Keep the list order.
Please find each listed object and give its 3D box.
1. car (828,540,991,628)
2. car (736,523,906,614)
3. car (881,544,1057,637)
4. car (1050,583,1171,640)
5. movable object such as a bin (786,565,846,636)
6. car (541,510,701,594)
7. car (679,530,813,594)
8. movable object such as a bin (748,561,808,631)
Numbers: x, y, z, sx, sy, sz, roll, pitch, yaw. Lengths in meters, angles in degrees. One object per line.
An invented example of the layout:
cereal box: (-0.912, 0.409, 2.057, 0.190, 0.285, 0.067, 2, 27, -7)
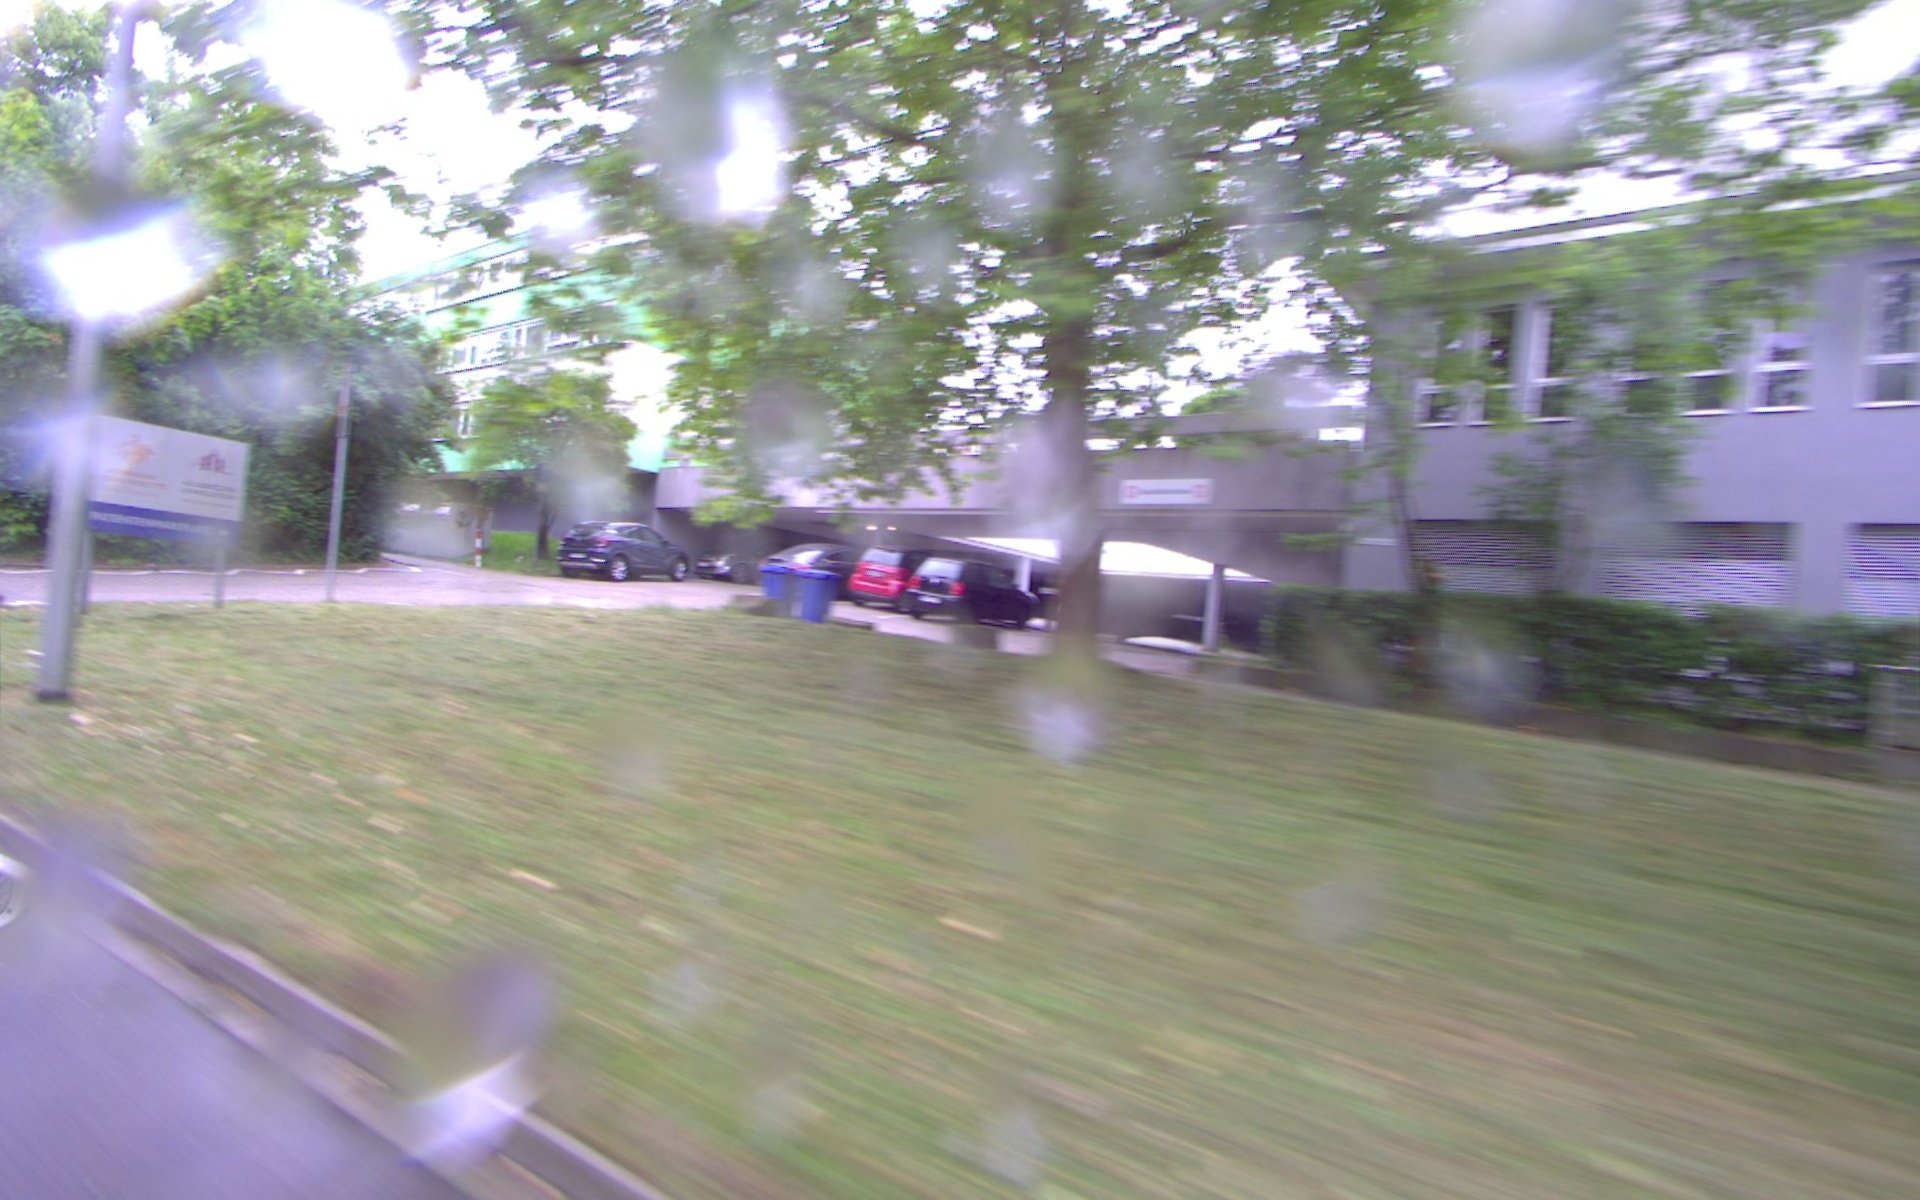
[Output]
car: (-1.196, -0.360, 25.514, 1.929, 1.682, 3.988, 7, -1, 36)
car: (-3.530, -0.777, 26.087, 1.971, 1.771, 3.985, 7, -1, 39)
car: (0.294, -0.179, 23.710, 1.971, 1.659, 3.985, 7, -1, 39)
car: (5.530, 0.416, 37.205, 3.948, 1.661, 1.916, 7, 1, 44)
movable object such as a bin: (-2.543, 0.015, 17.837, 0.651, 1.132, 0.671, 6, -3, 27)
car: (-9.411, -1.294, 28.239, 1.963, 1.771, 3.999, 7, -1, 23)
car: (-7.115, -1.228, 33.701, 1.906, 1.593, 3.985, 7, 0, 38)
movable object such as a bin: (-3.278, -0.071, 18.155, 0.651, 1.132, 0.671, 6, -3, 27)
